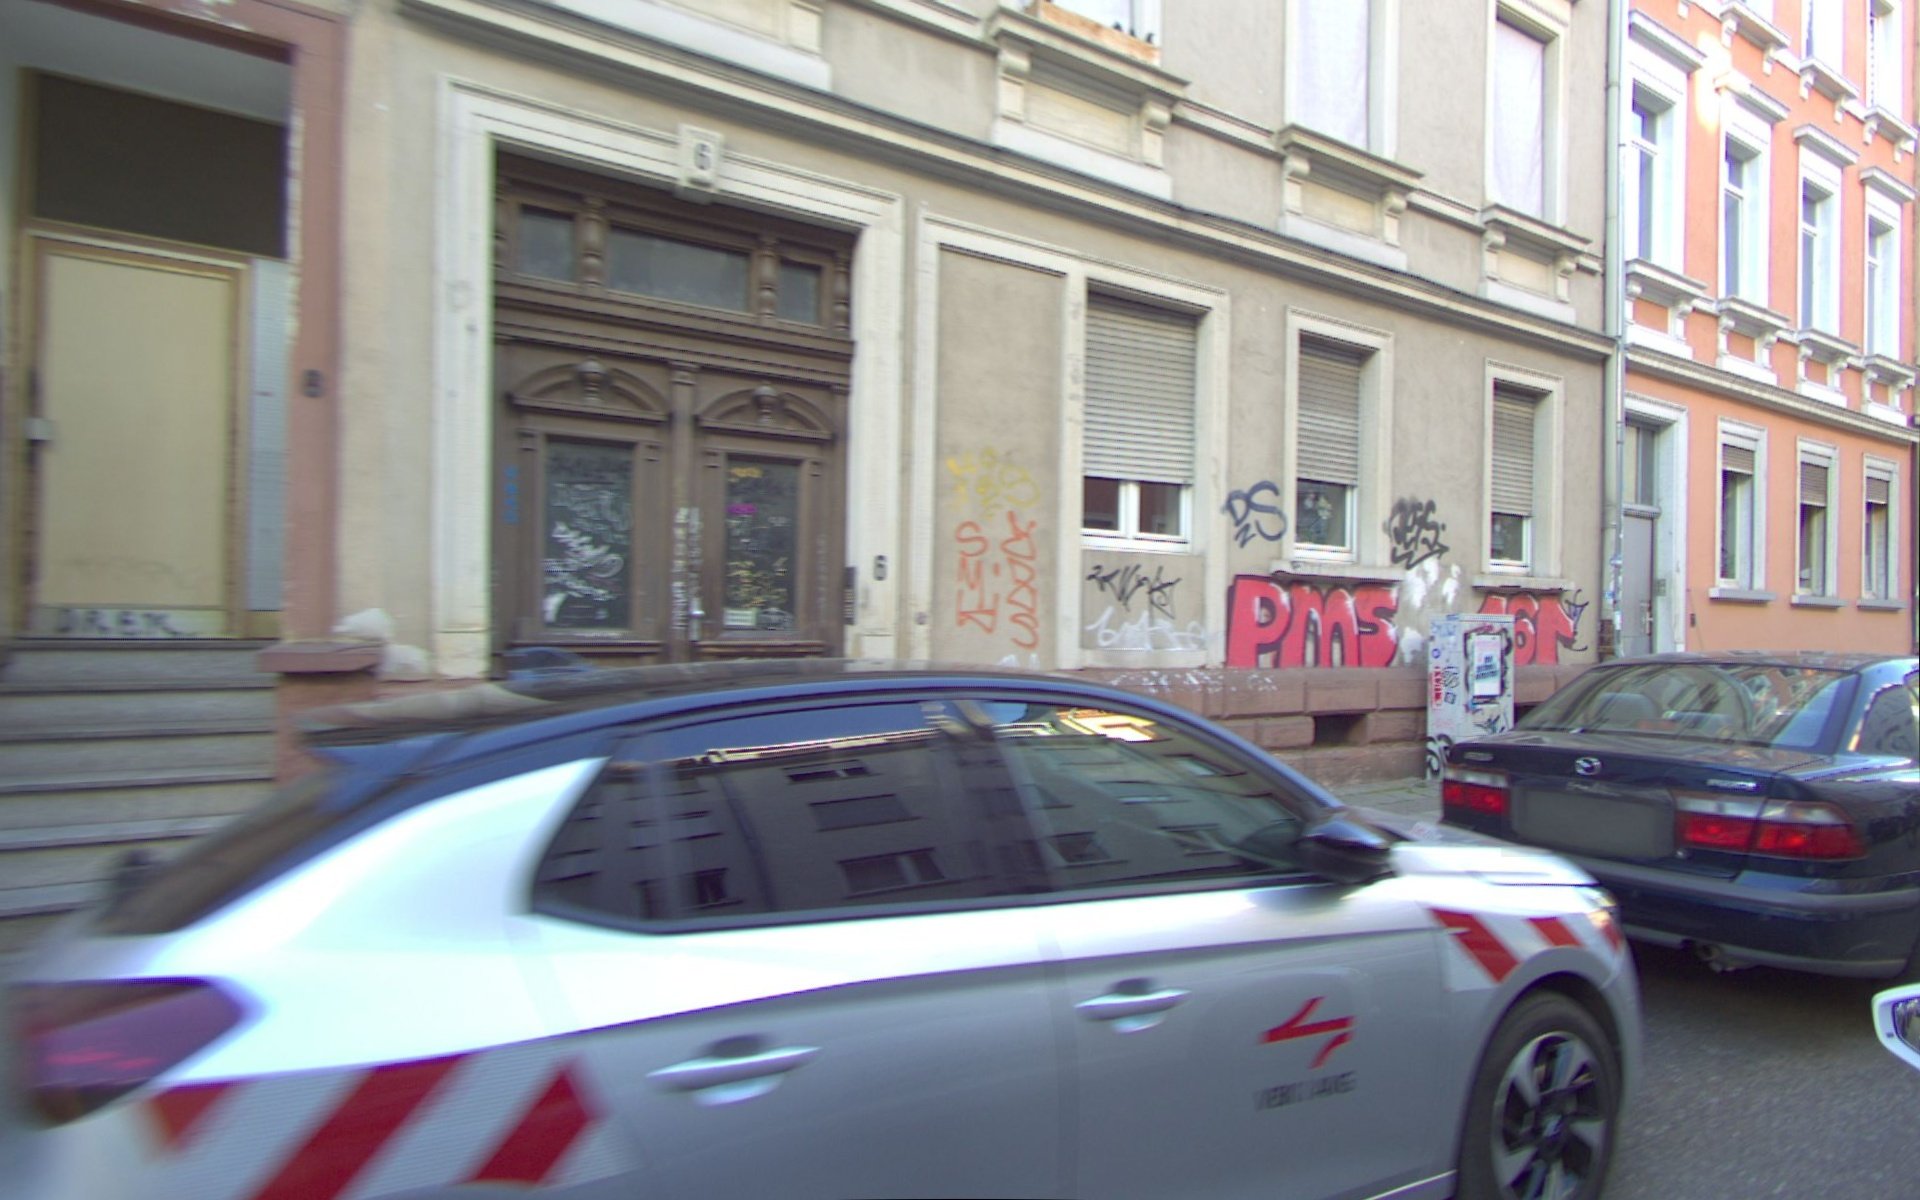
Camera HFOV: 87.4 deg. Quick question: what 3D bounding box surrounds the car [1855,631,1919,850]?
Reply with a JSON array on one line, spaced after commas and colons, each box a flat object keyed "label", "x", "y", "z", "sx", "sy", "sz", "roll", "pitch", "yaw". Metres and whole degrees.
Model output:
[{"label": "car", "x": 8.434, "y": 1.010, "z": 7.610, "sx": 3.342, "sy": 1.550, "sz": 1.596, "roll": 1, "pitch": -3, "yaw": -32}]

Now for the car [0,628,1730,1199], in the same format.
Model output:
[{"label": "car", "x": 0.037, "y": 0.810, "z": 2.571, "sx": 3.840, "sy": 1.449, "sz": 1.667, "roll": 1, "pitch": -2, "yaw": -29}]

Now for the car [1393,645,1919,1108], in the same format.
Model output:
[{"label": "car", "x": 4.262, "y": 0.959, "z": 5.031, "sx": 4.252, "sy": 1.432, "sz": 1.698, "roll": 1, "pitch": -2, "yaw": -31}]

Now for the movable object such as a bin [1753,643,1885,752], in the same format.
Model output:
[{"label": "movable object such as a bin", "x": 9.457, "y": 1.073, "z": 11.079, "sx": 0.707, "sy": 1.140, "sz": 0.832, "roll": 1, "pitch": -6, "yaw": -28}]
